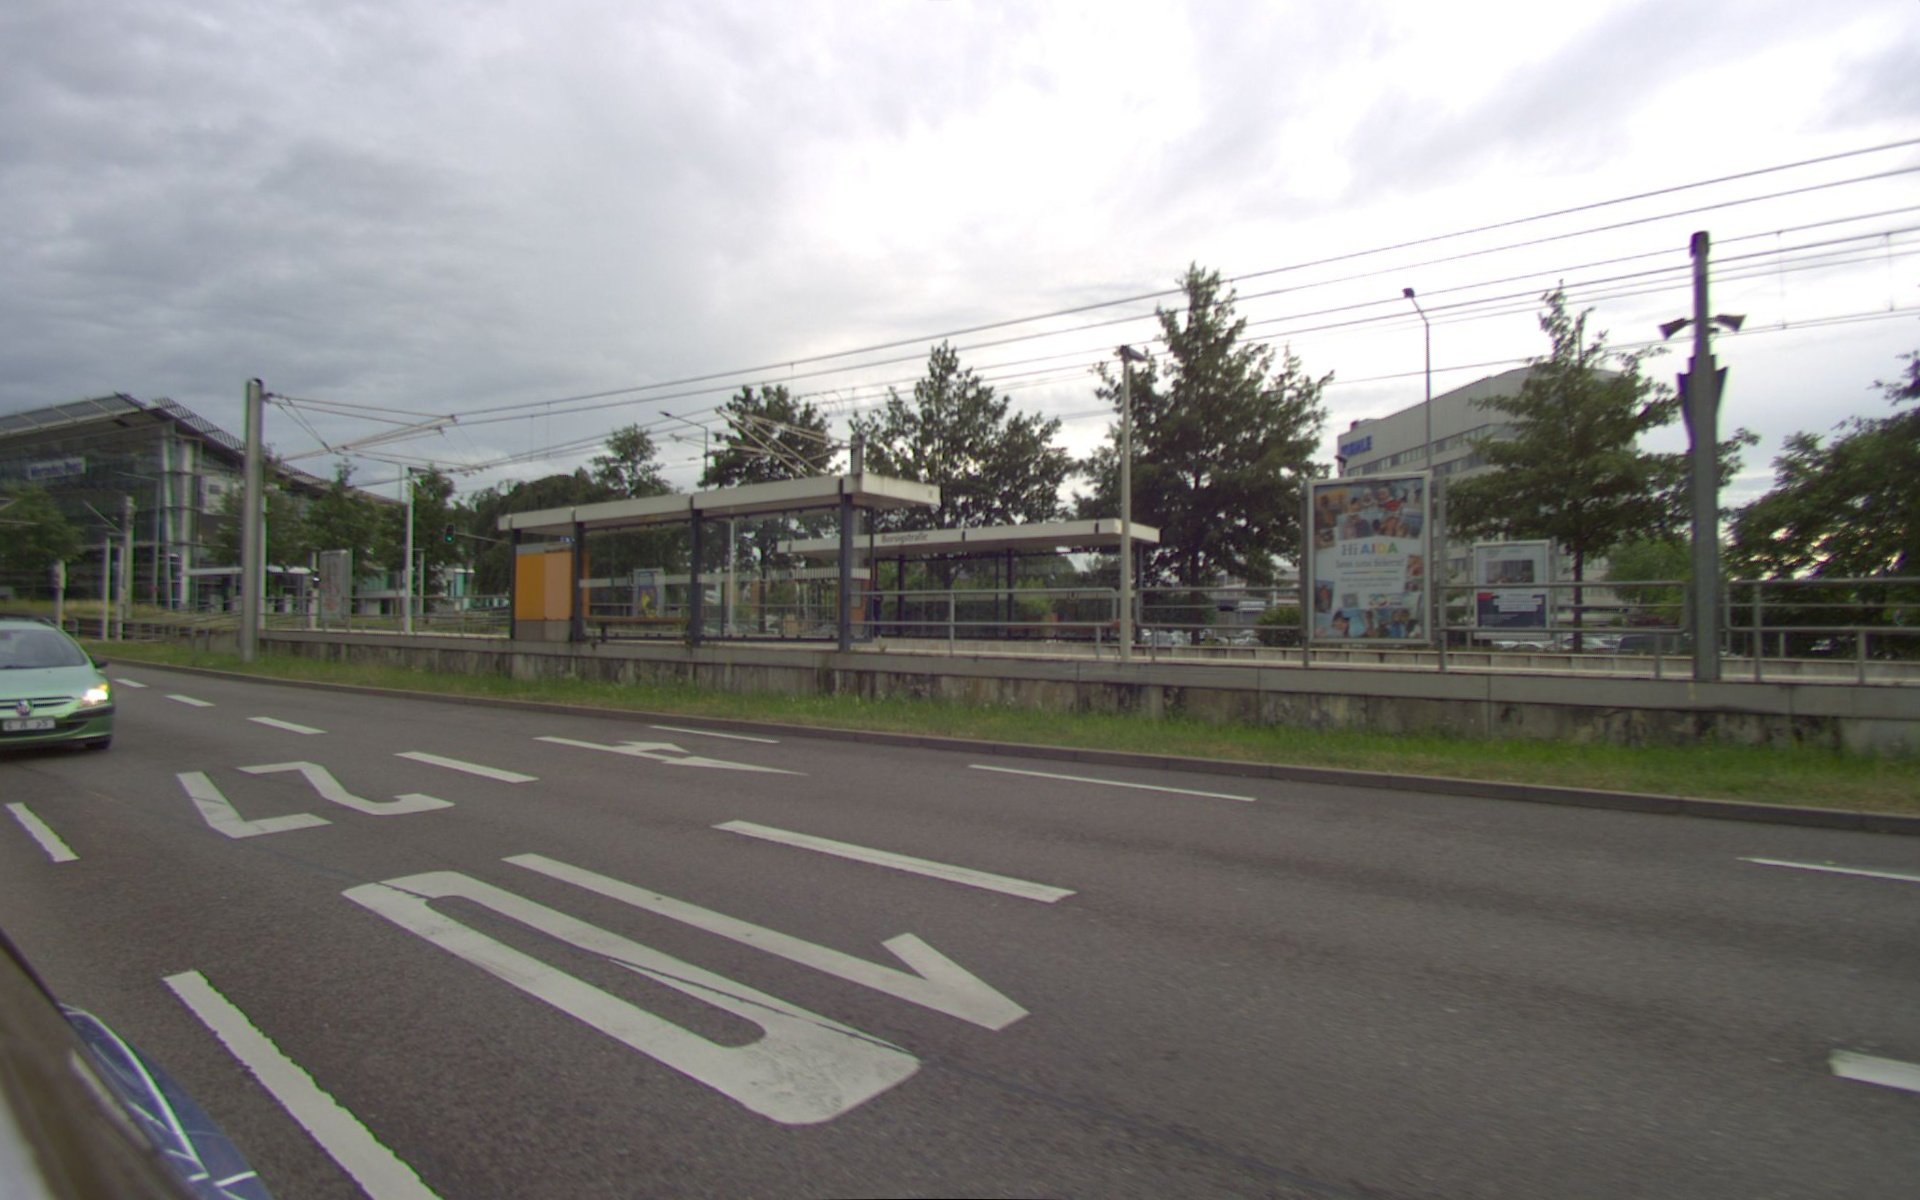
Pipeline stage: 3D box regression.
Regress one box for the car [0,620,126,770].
[{"bbox_3d":[-11.317,1.003,11.788,4.399,1.479,1.678,-1,0,40],"label":"car"}]
